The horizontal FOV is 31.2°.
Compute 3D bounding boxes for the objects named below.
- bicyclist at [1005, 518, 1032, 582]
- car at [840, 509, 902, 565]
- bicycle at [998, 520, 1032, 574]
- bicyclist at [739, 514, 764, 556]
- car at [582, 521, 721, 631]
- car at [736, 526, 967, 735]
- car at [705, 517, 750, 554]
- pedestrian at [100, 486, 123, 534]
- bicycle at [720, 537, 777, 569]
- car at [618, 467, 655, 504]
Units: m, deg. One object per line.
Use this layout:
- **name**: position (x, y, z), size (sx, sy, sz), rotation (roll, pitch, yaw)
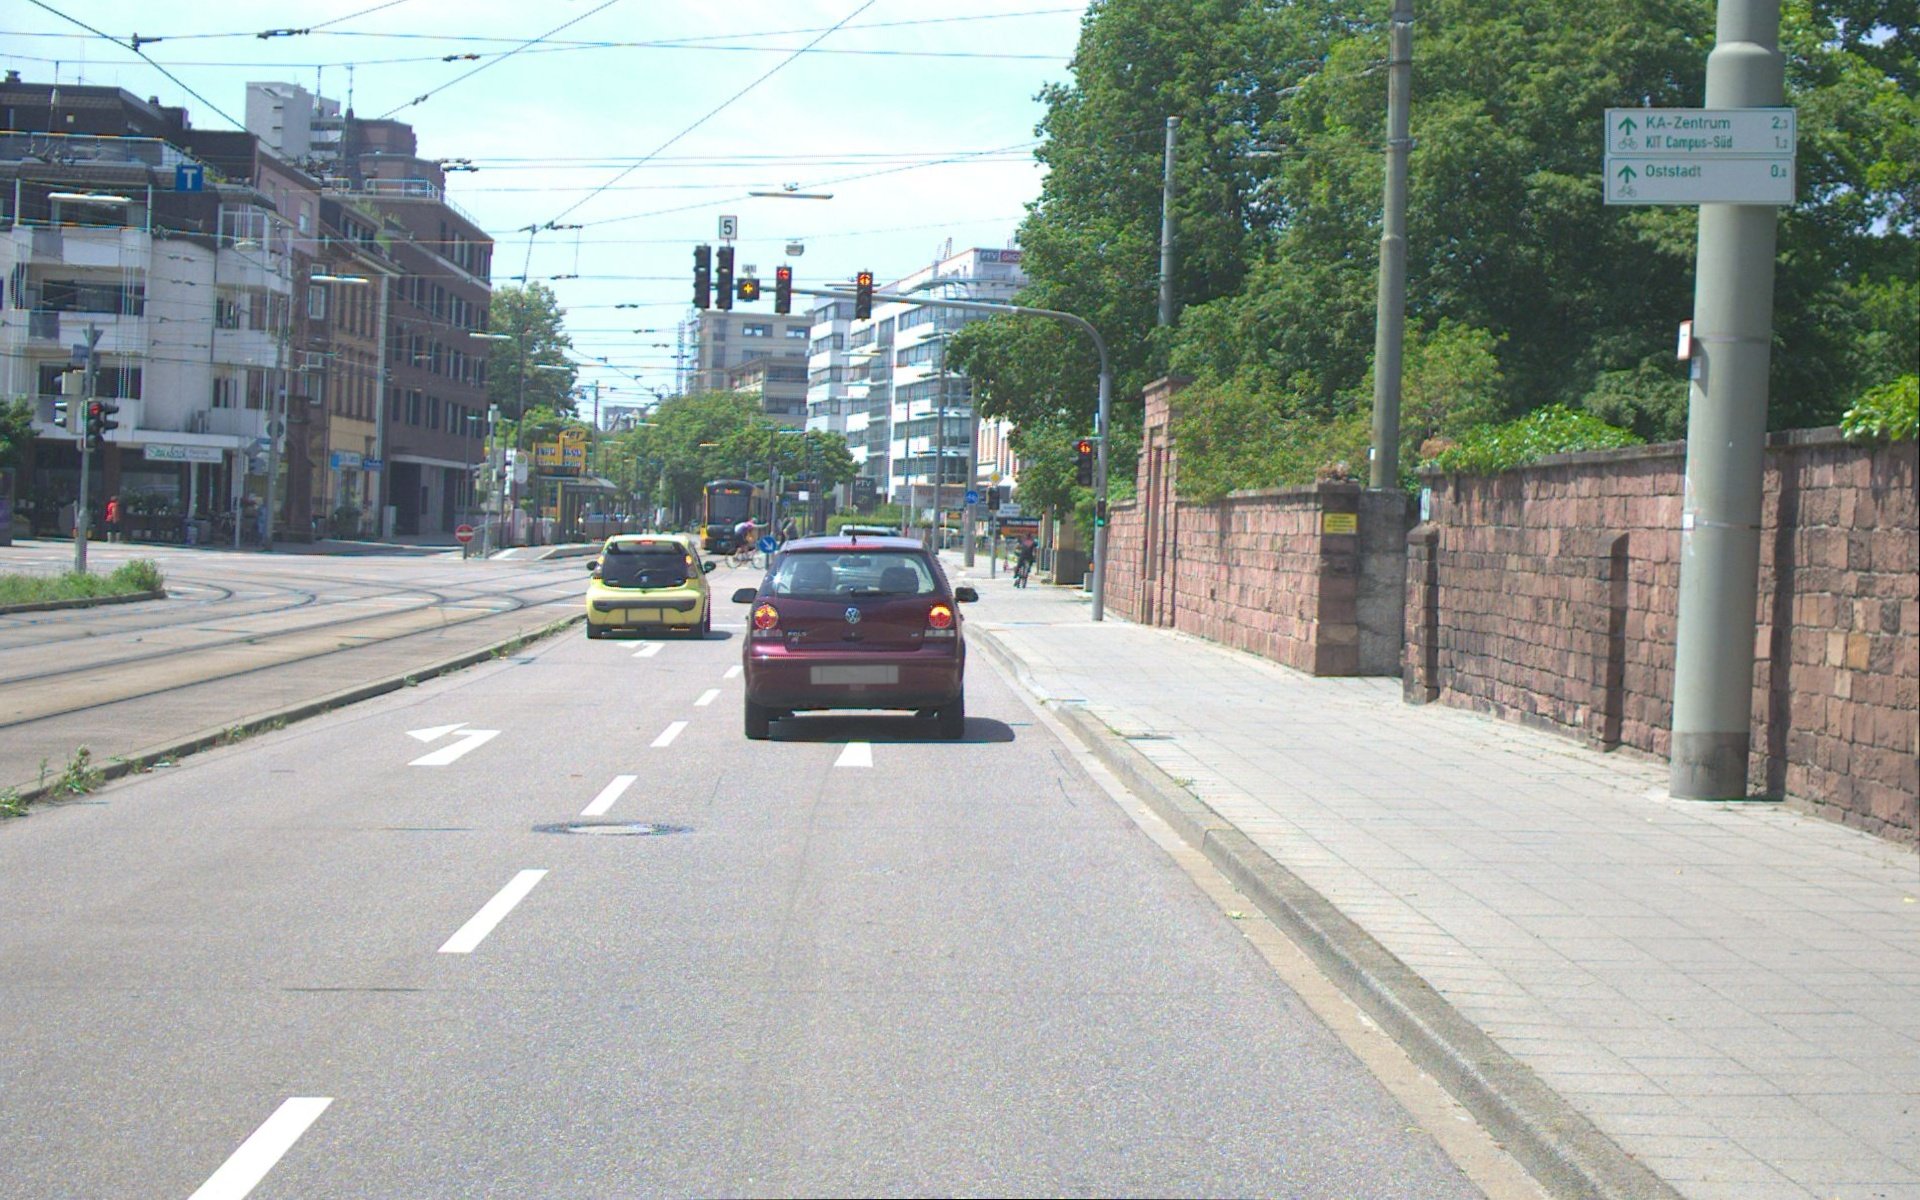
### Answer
- **bicyclist**: position (1.694, -1.446, 99.756), size (0.721, 1.812, 0.888), rotation (1, 0, -1)
- **car**: position (-2.306, -1.646, 88.972), size (1.572, 1.411, 3.720), rotation (0, 1, -2)
- **bicycle**: position (1.609, -1.548, 101.116), size (0.835, 1.520, 4.000), rotation (1, 0, -1)
- **bicyclist**: position (-6.911, -2.153, 114.014), size (0.765, 1.401, 0.506), rotation (1, 0, -5)
- **car**: position (-4.304, -0.366, 48.319), size (1.723, 1.440, 3.293), rotation (1, 2, -2)
- **car**: position (-0.820, 0.169, 26.116), size (1.610, 1.458, 4.086), rotation (0, 1, -2)
- **car**: position (-10.831, -2.986, 160.296), size (1.938, 1.635, 4.000), rotation (1, 0, -2)
- **pedestrian**: position (-27.542, -2.935, 111.622), size (0.484, 1.535, 0.538), rotation (1, 0, 14)
- **bicycle**: position (-7.016, -1.561, 113.955), size (1.865, 1.004, 0.579), rotation (1, 0, -5)
- **car**: position (-18.589, -6.592, 197.499), size (1.735, 2.007, 4.000), rotation (2, 1, -1)
